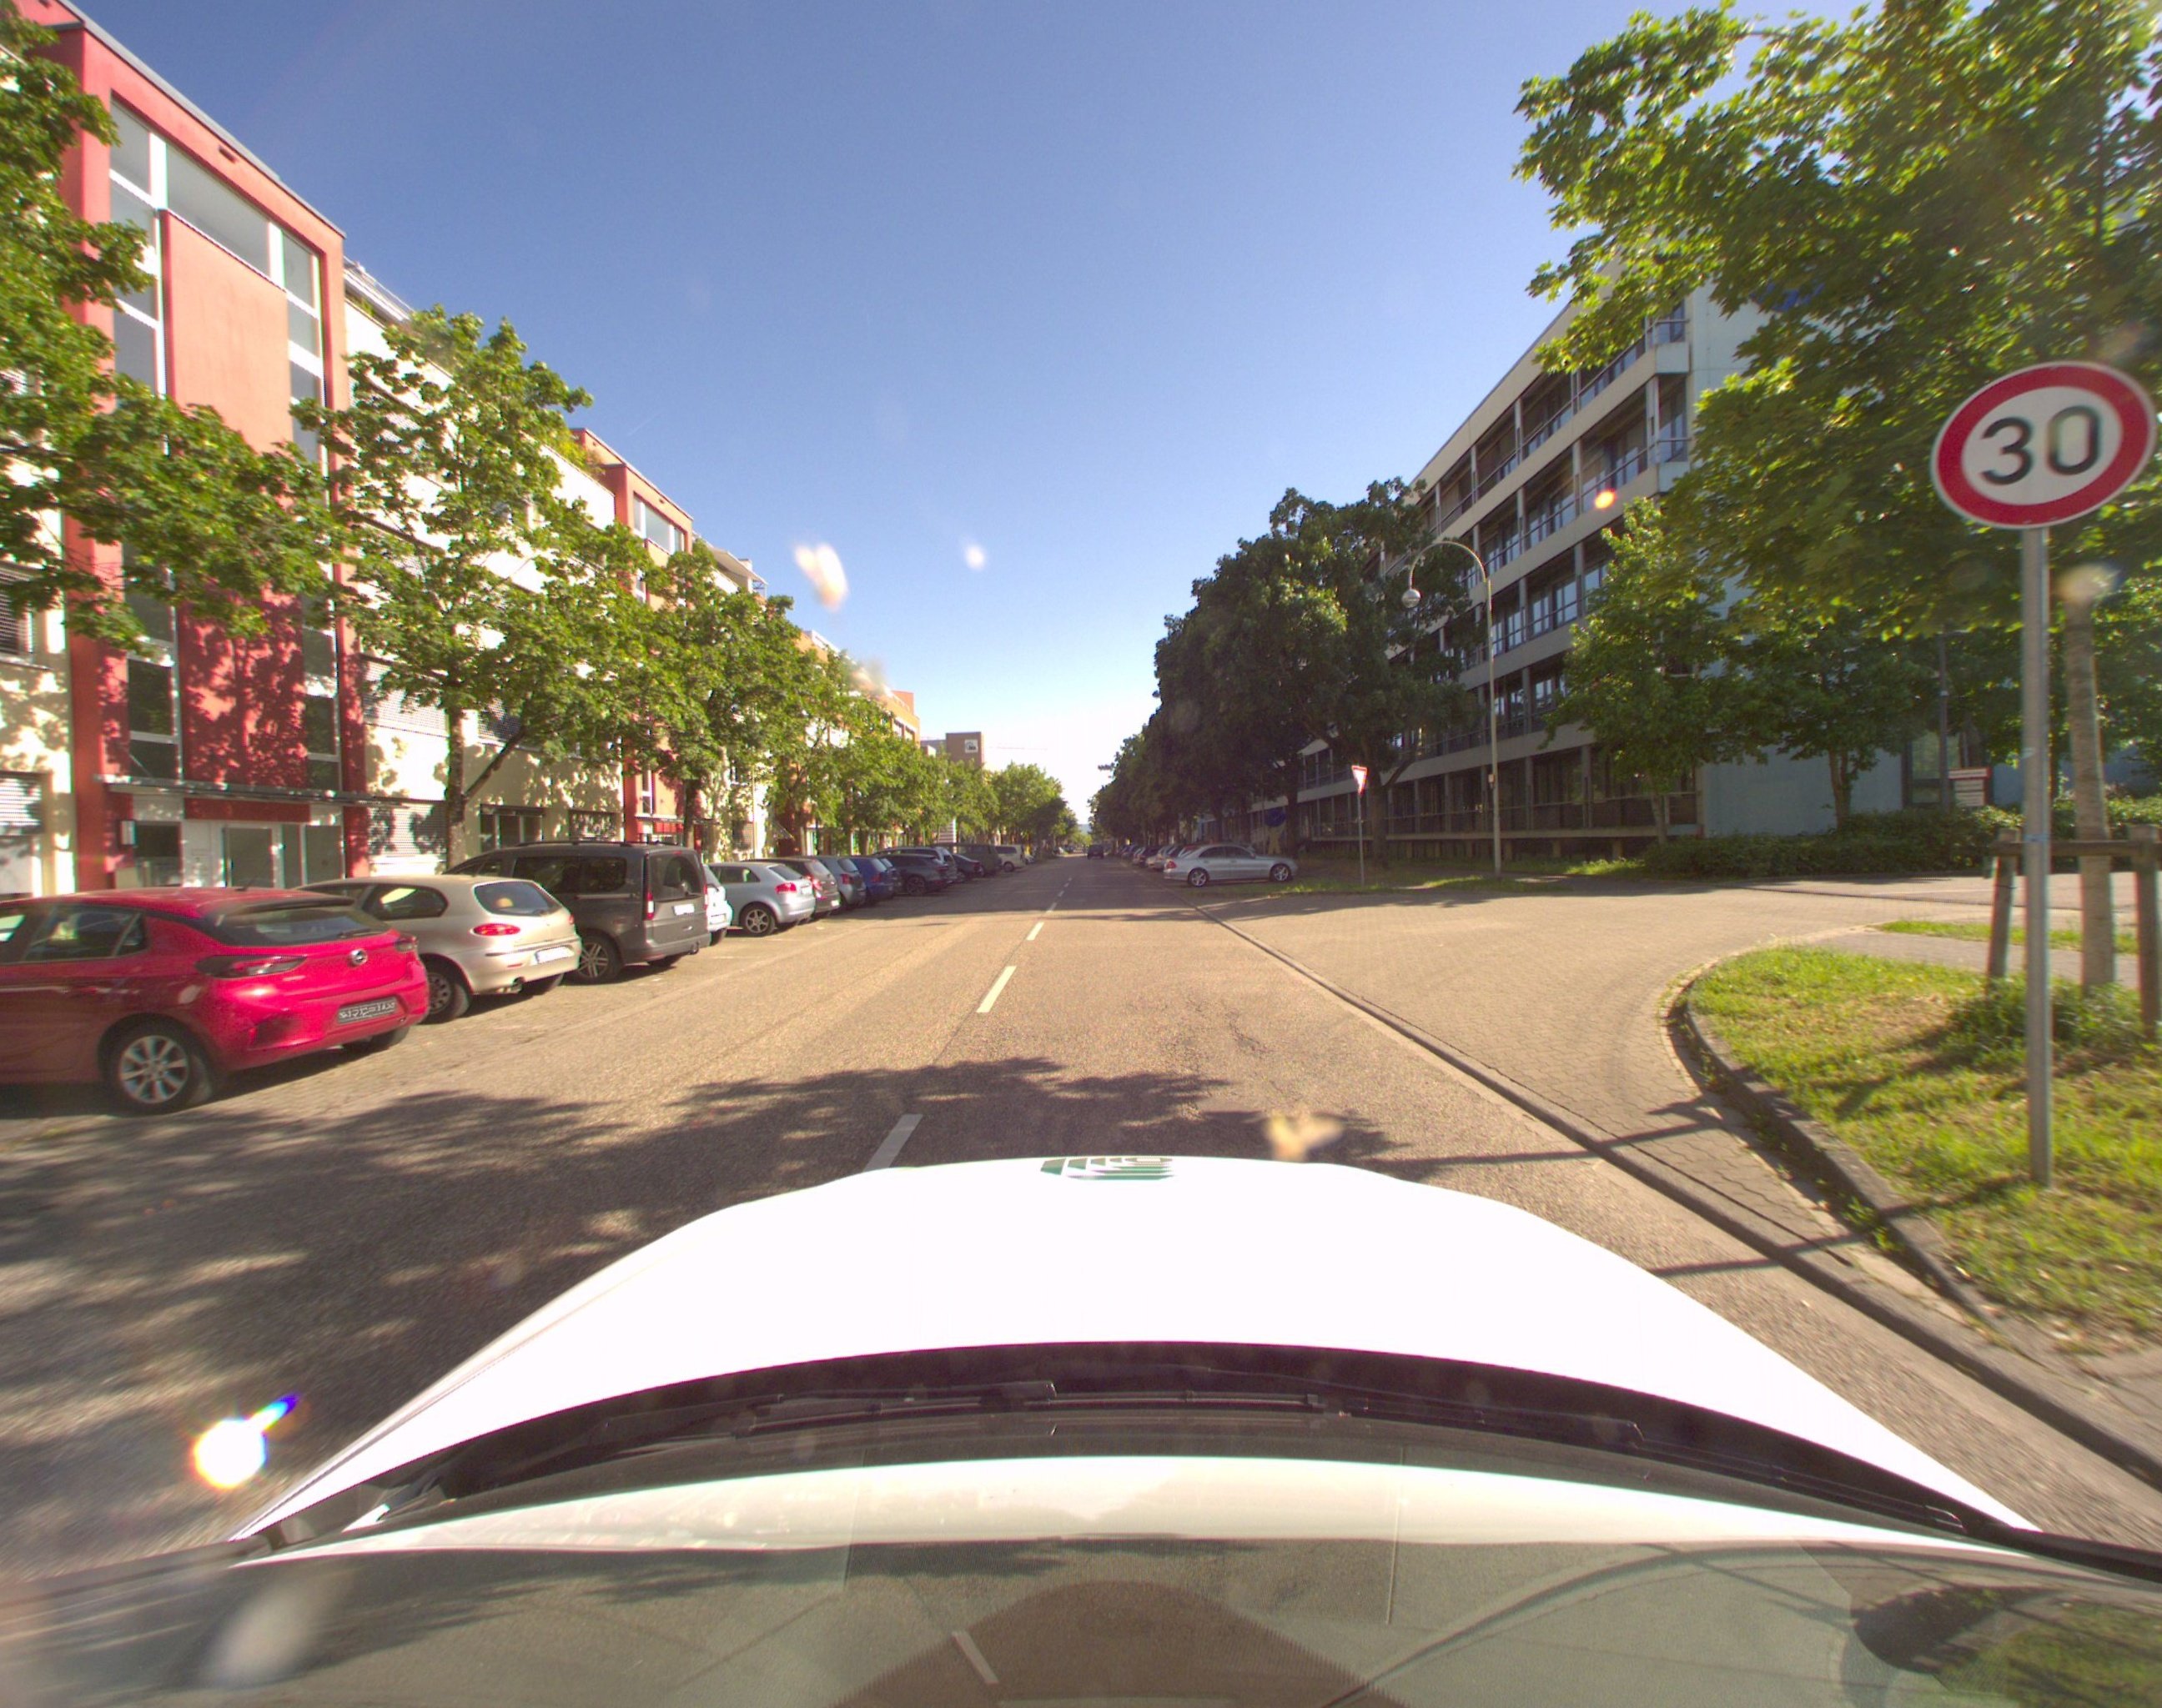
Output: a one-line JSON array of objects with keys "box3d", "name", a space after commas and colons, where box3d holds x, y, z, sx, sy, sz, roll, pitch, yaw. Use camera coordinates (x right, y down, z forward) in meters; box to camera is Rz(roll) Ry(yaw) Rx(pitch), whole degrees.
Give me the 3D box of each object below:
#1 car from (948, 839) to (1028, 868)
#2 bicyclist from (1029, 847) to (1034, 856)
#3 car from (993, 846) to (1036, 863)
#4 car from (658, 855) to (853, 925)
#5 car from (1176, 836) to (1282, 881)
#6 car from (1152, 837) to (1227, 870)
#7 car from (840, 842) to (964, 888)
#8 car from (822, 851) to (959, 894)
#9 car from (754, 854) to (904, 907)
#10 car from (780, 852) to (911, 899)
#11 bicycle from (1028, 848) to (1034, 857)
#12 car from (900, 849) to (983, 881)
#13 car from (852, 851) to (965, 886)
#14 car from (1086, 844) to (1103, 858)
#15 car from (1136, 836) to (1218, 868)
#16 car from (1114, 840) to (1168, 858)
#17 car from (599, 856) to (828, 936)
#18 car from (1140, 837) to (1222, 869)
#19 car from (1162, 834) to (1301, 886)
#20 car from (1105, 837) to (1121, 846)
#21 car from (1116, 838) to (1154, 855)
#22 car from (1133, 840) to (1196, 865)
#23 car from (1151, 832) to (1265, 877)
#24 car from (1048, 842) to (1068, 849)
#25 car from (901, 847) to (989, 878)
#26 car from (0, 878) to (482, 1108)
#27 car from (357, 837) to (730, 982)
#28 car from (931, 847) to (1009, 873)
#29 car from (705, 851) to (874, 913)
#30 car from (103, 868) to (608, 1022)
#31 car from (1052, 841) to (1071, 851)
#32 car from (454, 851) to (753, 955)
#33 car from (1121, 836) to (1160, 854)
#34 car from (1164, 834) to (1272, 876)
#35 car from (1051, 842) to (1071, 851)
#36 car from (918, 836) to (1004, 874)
[{"box3d": [-6.383, -0.052, 56.057, 5.240, 1.967, 1.943, 0, 1, 0], "name": "car"}, {"box3d": [-6.546, -0.309, 106.826, 0.530, 1.091, 0.795, -2, 1, 3], "name": "bicyclist"}, {"box3d": [-6.385, 0.018, 78.525, 3.975, 1.486, 1.806, -1, 1, -1], "name": "car"}, {"box3d": [-7.349, 0.780, 18.692, 3.718, 1.447, 1.858, 0, 1, -3], "name": "car"}, {"box3d": [5.691, 0.160, 31.768, 3.820, 1.447, 1.924, -4, 0, 4], "name": "car"}, {"box3d": [5.794, -0.017, 43.744, 3.735, 1.493, 1.615, -4, 0, -4], "name": "car"}, {"box3d": [-6.832, 0.403, 31.440, 4.305, 1.717, 1.963, 0, 1, 1], "name": "car"}, {"box3d": [-6.661, 0.631, 28.781, 4.390, 1.427, 1.772, 0, 1, -2], "name": "car"}, {"box3d": [-7.206, 0.741, 23.564, 3.714, 1.427, 1.840, 0, 1, -1], "name": "car"}, {"box3d": [-7.565, 0.684, 26.395, 3.714, 1.427, 1.772, 0, 1, -1], "name": "car"}, {"box3d": [-6.539, -0.222, 106.827, 0.530, 1.072, 1.301, -2, 1, 4], "name": "bicycle"}, {"box3d": [-6.545, 0.499, 38.578, 3.720, 1.427, 1.722, 0, 1, -6], "name": "car"}, {"box3d": [-7.078, 0.579, 33.711, 4.307, 1.358, 1.757, 0, 1, -1], "name": "car"}, {"box3d": [1.692, -0.367, 101.282, 1.987, 1.640, 4.000, 0, 0, 1], "name": "car"}, {"box3d": [5.699, -0.121, 48.710, 4.576, 1.493, 1.763, -5, 0, 0], "name": "car"}, {"box3d": [5.574, -0.471, 76.035, 4.811, 1.420, 2.031, -4, 0, -2], "name": "car"}, {"box3d": [-7.216, 0.789, 16.330, 3.717, 1.447, 1.874, 0, 1, -3], "name": "car"}, {"box3d": [5.593, -0.058, 46.048, 4.276, 1.493, 2.002, -4, 0, -3], "name": "car"}, {"box3d": [5.239, 0.203, 28.848, 4.561, 1.475, 1.747, -4, 1, 1], "name": "car"}, {"box3d": [7.976, -3.012, 202.910, 3.976, 2.013, 1.999, -2, 0, -1], "name": "car"}, {"box3d": [6.534, -0.918, 98.707, 4.340, 1.703, 1.811, -4, 0, -3], "name": "car"}, {"box3d": [5.512, -0.103, 54.138, 3.958, 1.420, 1.709, -4, 0, -2], "name": "car"}, {"box3d": [5.232, 0.015, 34.079, 4.494, 1.542, 1.924, -4, 0, 4], "name": "car"}, {"box3d": [-4.451, -1.663, 159.185, 3.843, 1.473, 1.809, 0, 0, -6], "name": "car"}, {"box3d": [-6.860, 0.402, 41.356, 4.118, 1.527, 1.725, 0, 1, 0], "name": "car"}, {"box3d": [-7.176, 0.945, 6.219, 3.878, 1.423, 1.740, 0, 1, 1], "name": "car"}, {"box3d": [-7.154, 0.689, 11.153, 3.878, 1.811, 1.786, 0, 1, 1], "name": "car"}, {"box3d": [-6.598, 0.343, 48.755, 4.303, 1.477, 1.944, 0, 1, 2], "name": "car"}, {"box3d": [-7.509, 0.700, 21.259, 3.714, 1.508, 1.859, 0, 1, -1], "name": "car"}, {"box3d": [-7.574, 0.907, 8.804, 3.878, 1.423, 1.740, 0, 1, 1], "name": "car"}, {"box3d": [-4.372, -1.747, 183.643, 3.968, 2.013, 2.003, -3, 0, 4], "name": "car"}, {"box3d": [-7.825, 0.766, 13.638, 3.878, 1.574, 1.860, 0, 1, 1], "name": "car"}, {"box3d": [6.120, -0.924, 84.433, 3.934, 1.514, 1.813, -4, 0, 2], "name": "car"}, {"box3d": [6.102, 0.025, 36.698, 4.497, 1.542, 1.923, -4, 0, 2], "name": "car"}, {"box3d": [-4.428, -1.664, 180.775, 3.968, 2.013, 2.003, -3, 0, 4], "name": "car"}, {"box3d": [-6.738, 0.055, 46.069, 4.470, 2.089, 2.084, 0, 1, 2], "name": "car"}]
